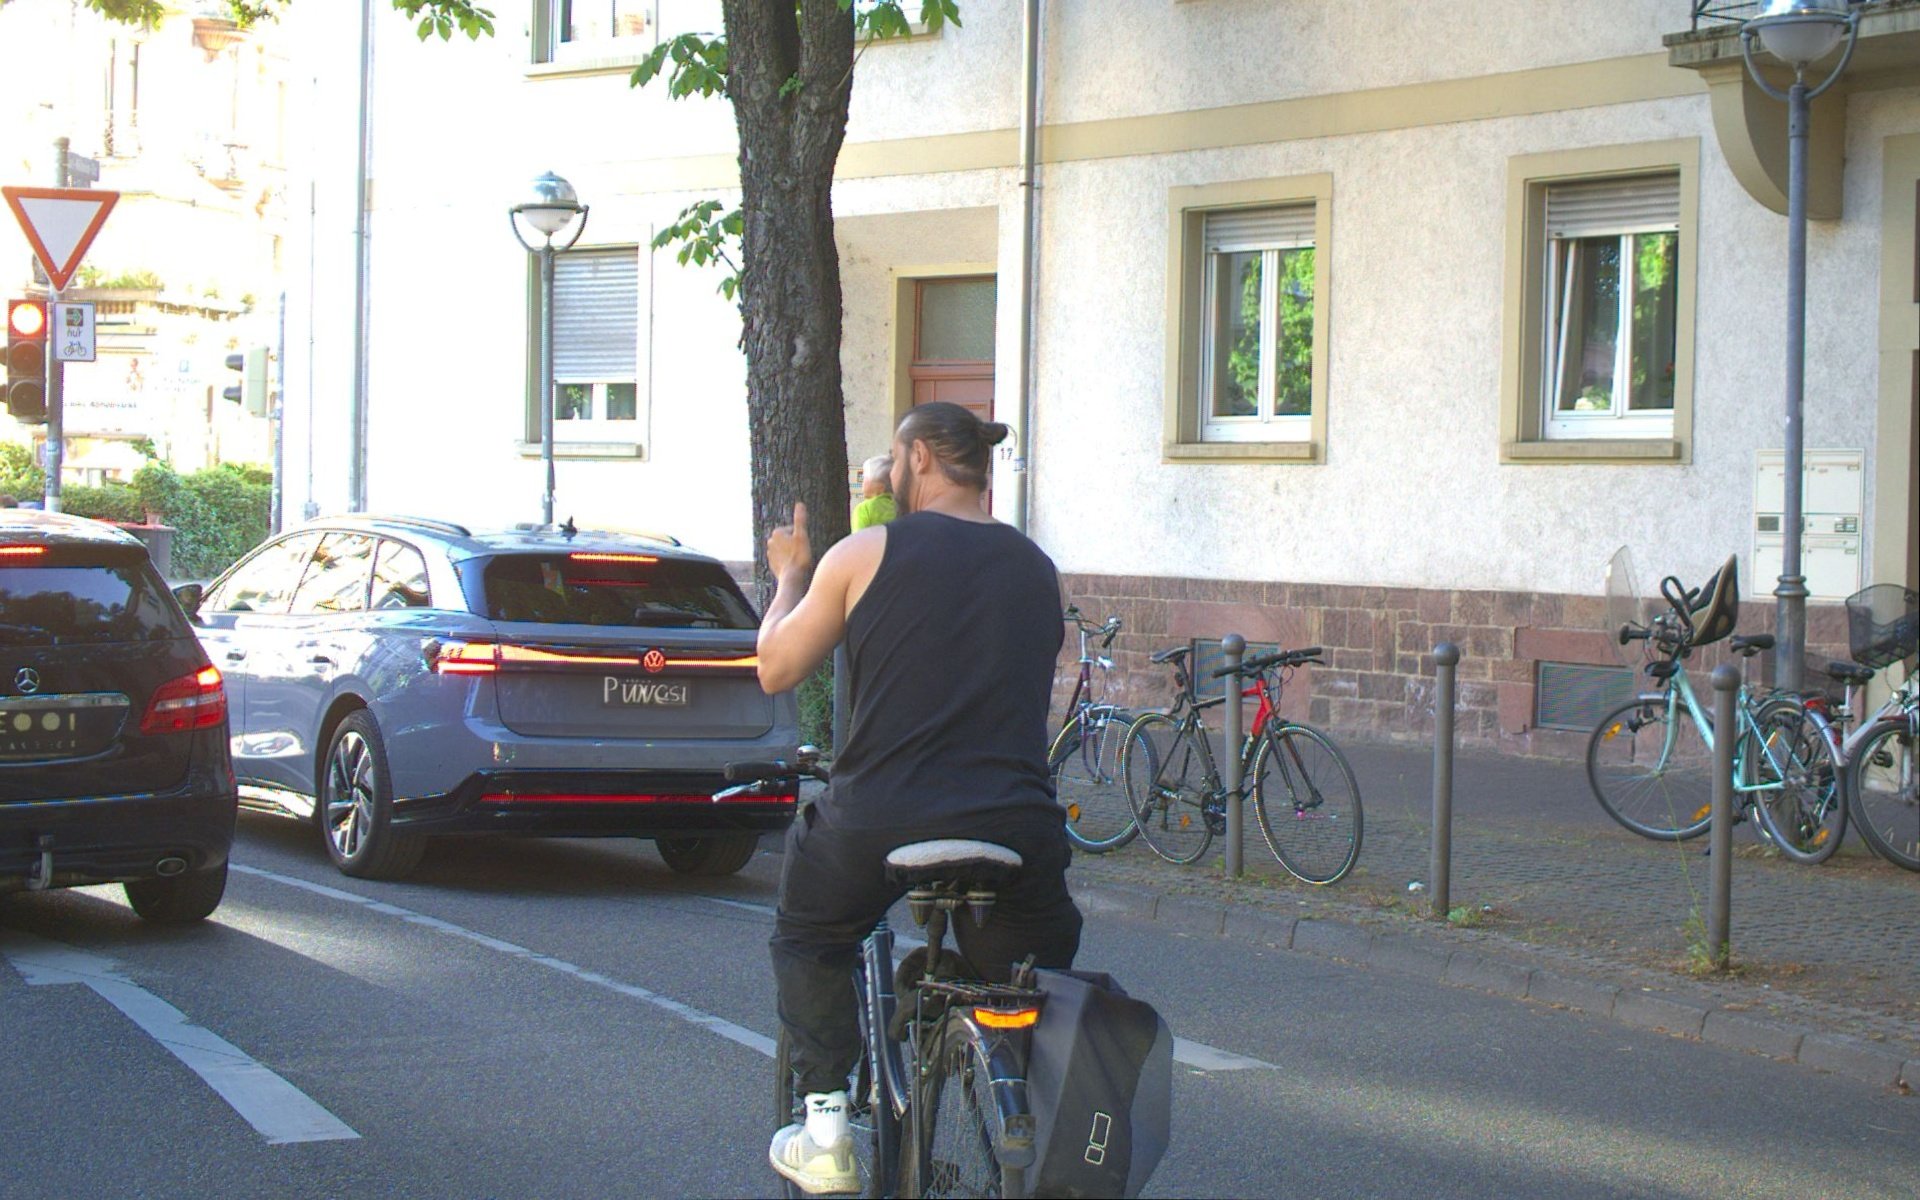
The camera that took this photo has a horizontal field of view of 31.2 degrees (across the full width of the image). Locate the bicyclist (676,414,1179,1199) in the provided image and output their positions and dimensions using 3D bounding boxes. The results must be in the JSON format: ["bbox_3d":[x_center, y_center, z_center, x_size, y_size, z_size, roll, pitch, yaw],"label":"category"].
[{"bbox_3d":[-0.090,0.501,6.283,0.686,1.650,0.990,0,2,-15],"label":"bicyclist"}]

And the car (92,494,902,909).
[{"bbox_3d":[-2.290,0.380,15.784,1.970,1.580,4.475,3,0,-31],"label":"car"}]

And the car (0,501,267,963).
[{"bbox_3d":[-4.255,0.400,13.184,1.790,1.536,3.860,-2,2,-34],"label":"car"}]

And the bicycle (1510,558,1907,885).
[{"bbox_3d":[3.191,0.478,14.878,0.717,1.273,1.967,-1,2,-21],"label":"bicycle"}]

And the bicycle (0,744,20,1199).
[{"bbox_3d":[-2.379,0.773,6.658,0.717,1.103,1.967,1,1,-25],"label":"bicycle"}]

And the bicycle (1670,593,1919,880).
[{"bbox_3d":[3.903,0.558,14.896,0.667,1.103,1.967,1,1,-19],"label":"bicycle"}]

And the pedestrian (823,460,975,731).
[{"bbox_3d":[-0.402,-0.051,22.456,0.643,1.721,0.888,-2,3,-27],"label":"pedestrian"}]

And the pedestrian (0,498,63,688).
[{"bbox_3d":[-8.512,-0.079,30.533,0.901,1.629,0.726,3,2,-21],"label":"pedestrian"}]

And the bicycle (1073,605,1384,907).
[{"bbox_3d":[1.095,0.616,14.421,0.526,1.103,1.741,-2,3,-24],"label":"bicycle"}]

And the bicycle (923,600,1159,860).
[{"bbox_3d":[0.356,0.572,15.996,0.480,1.060,1.636,-2,3,-22],"label":"bicycle"}]
